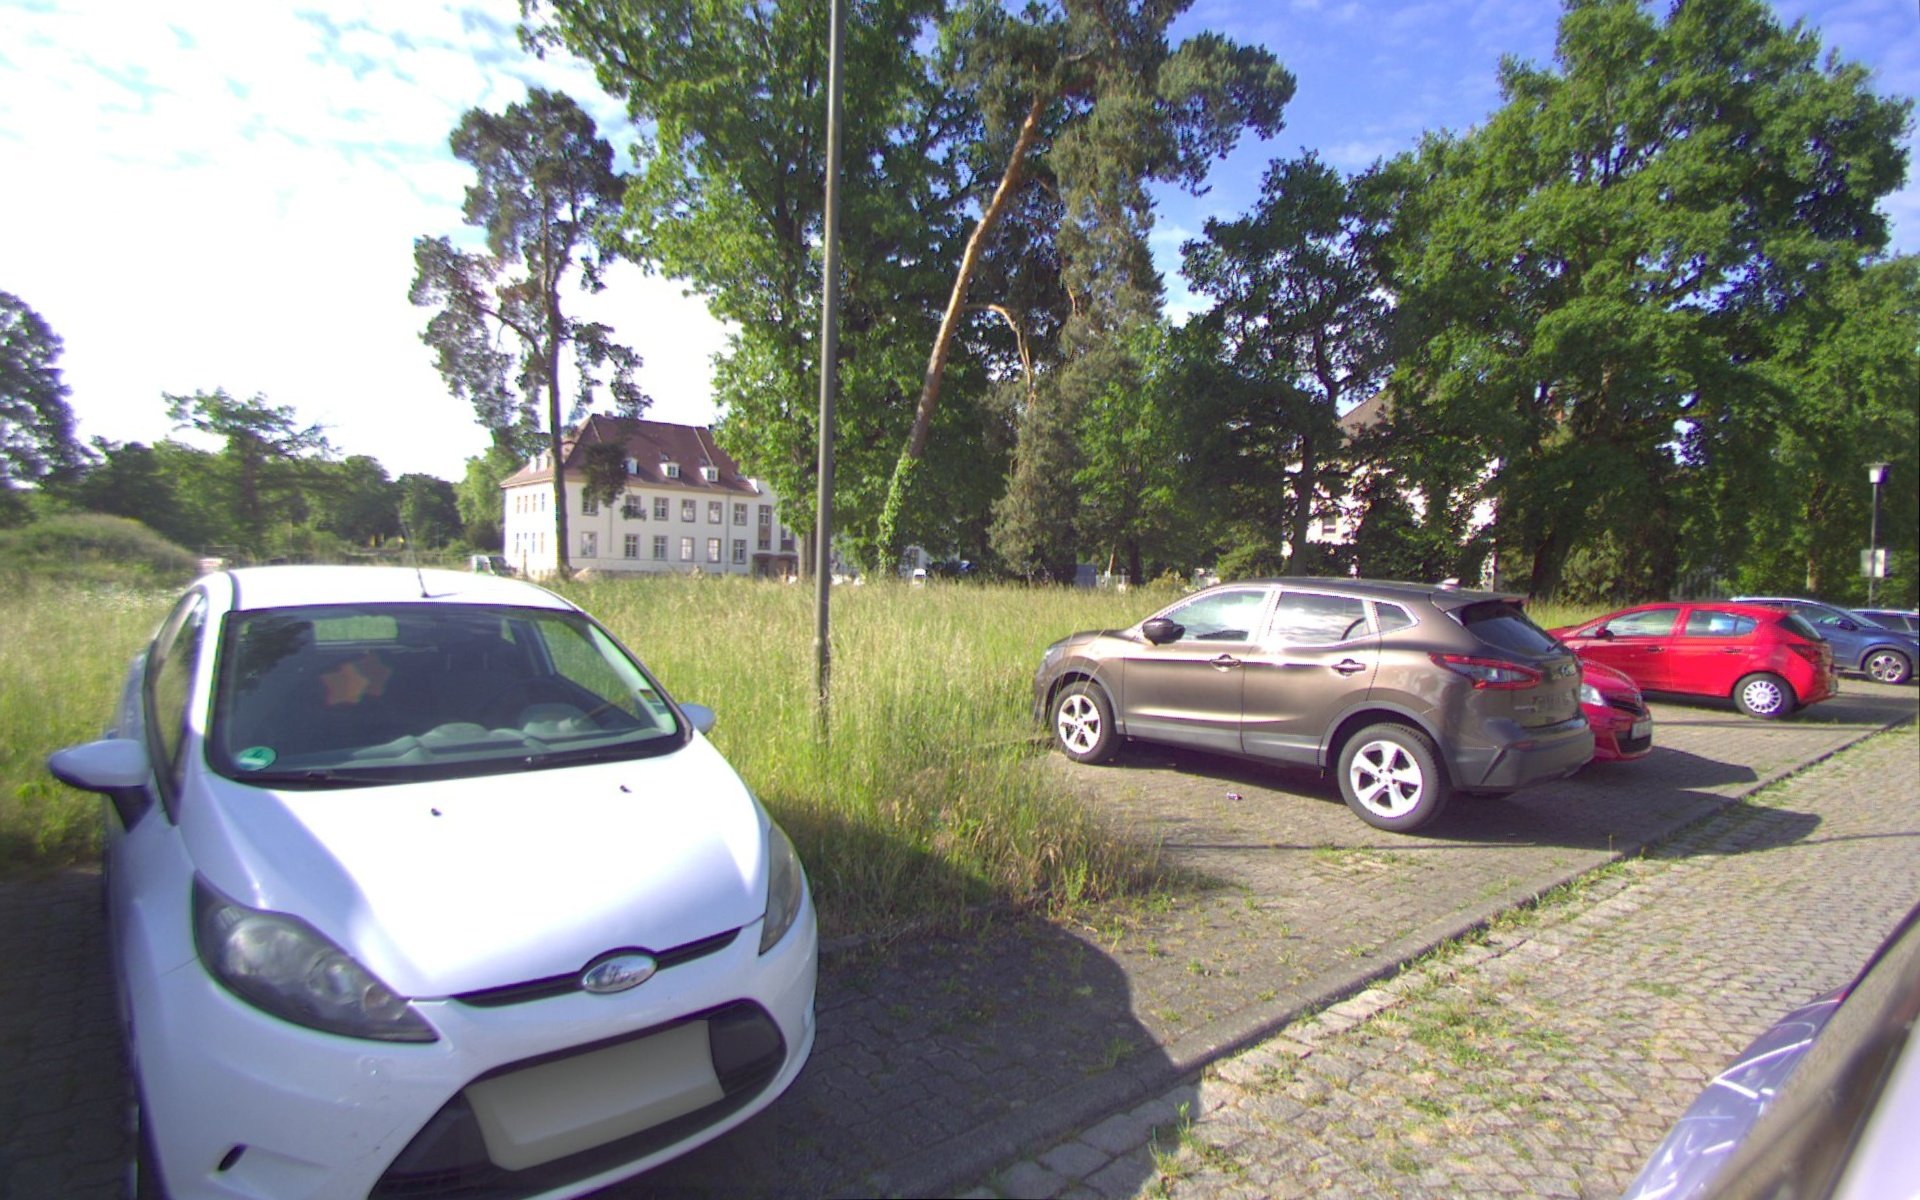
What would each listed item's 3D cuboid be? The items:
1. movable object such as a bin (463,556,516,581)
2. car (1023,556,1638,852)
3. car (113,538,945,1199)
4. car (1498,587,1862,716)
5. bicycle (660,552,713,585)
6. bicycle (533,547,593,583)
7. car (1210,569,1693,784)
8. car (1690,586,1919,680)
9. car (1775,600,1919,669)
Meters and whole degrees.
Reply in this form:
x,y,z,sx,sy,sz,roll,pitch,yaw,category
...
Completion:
x,y,z,sx,sy,sz,roll,pitch,yaw,category
-41.359,-2.749,88.922,5.714,2.038,2.092,3,2,41,movable object such as a bin
2.577,0.525,7.849,1.755,1.631,4.115,1,2,-41,car
-1.887,0.587,3.581,1.582,1.484,3.727,1,3,-42,car
10.153,0.623,14.539,1.513,1.514,3.995,1,1,-40,car
-16.998,-1.987,62.941,3.077,2.038,0.952,-2,3,-41,bicycle
-22.829,-2.039,58.306,3.077,2.038,0.952,-2,3,-41,bicycle
4.541,0.553,9.826,1.673,1.557,3.835,1,2,-39,car
17.955,0.632,20.963,1.622,1.618,4.273,1,3,-40,car
21.752,0.796,23.730,1.715,1.484,3.809,1,1,-39,car
